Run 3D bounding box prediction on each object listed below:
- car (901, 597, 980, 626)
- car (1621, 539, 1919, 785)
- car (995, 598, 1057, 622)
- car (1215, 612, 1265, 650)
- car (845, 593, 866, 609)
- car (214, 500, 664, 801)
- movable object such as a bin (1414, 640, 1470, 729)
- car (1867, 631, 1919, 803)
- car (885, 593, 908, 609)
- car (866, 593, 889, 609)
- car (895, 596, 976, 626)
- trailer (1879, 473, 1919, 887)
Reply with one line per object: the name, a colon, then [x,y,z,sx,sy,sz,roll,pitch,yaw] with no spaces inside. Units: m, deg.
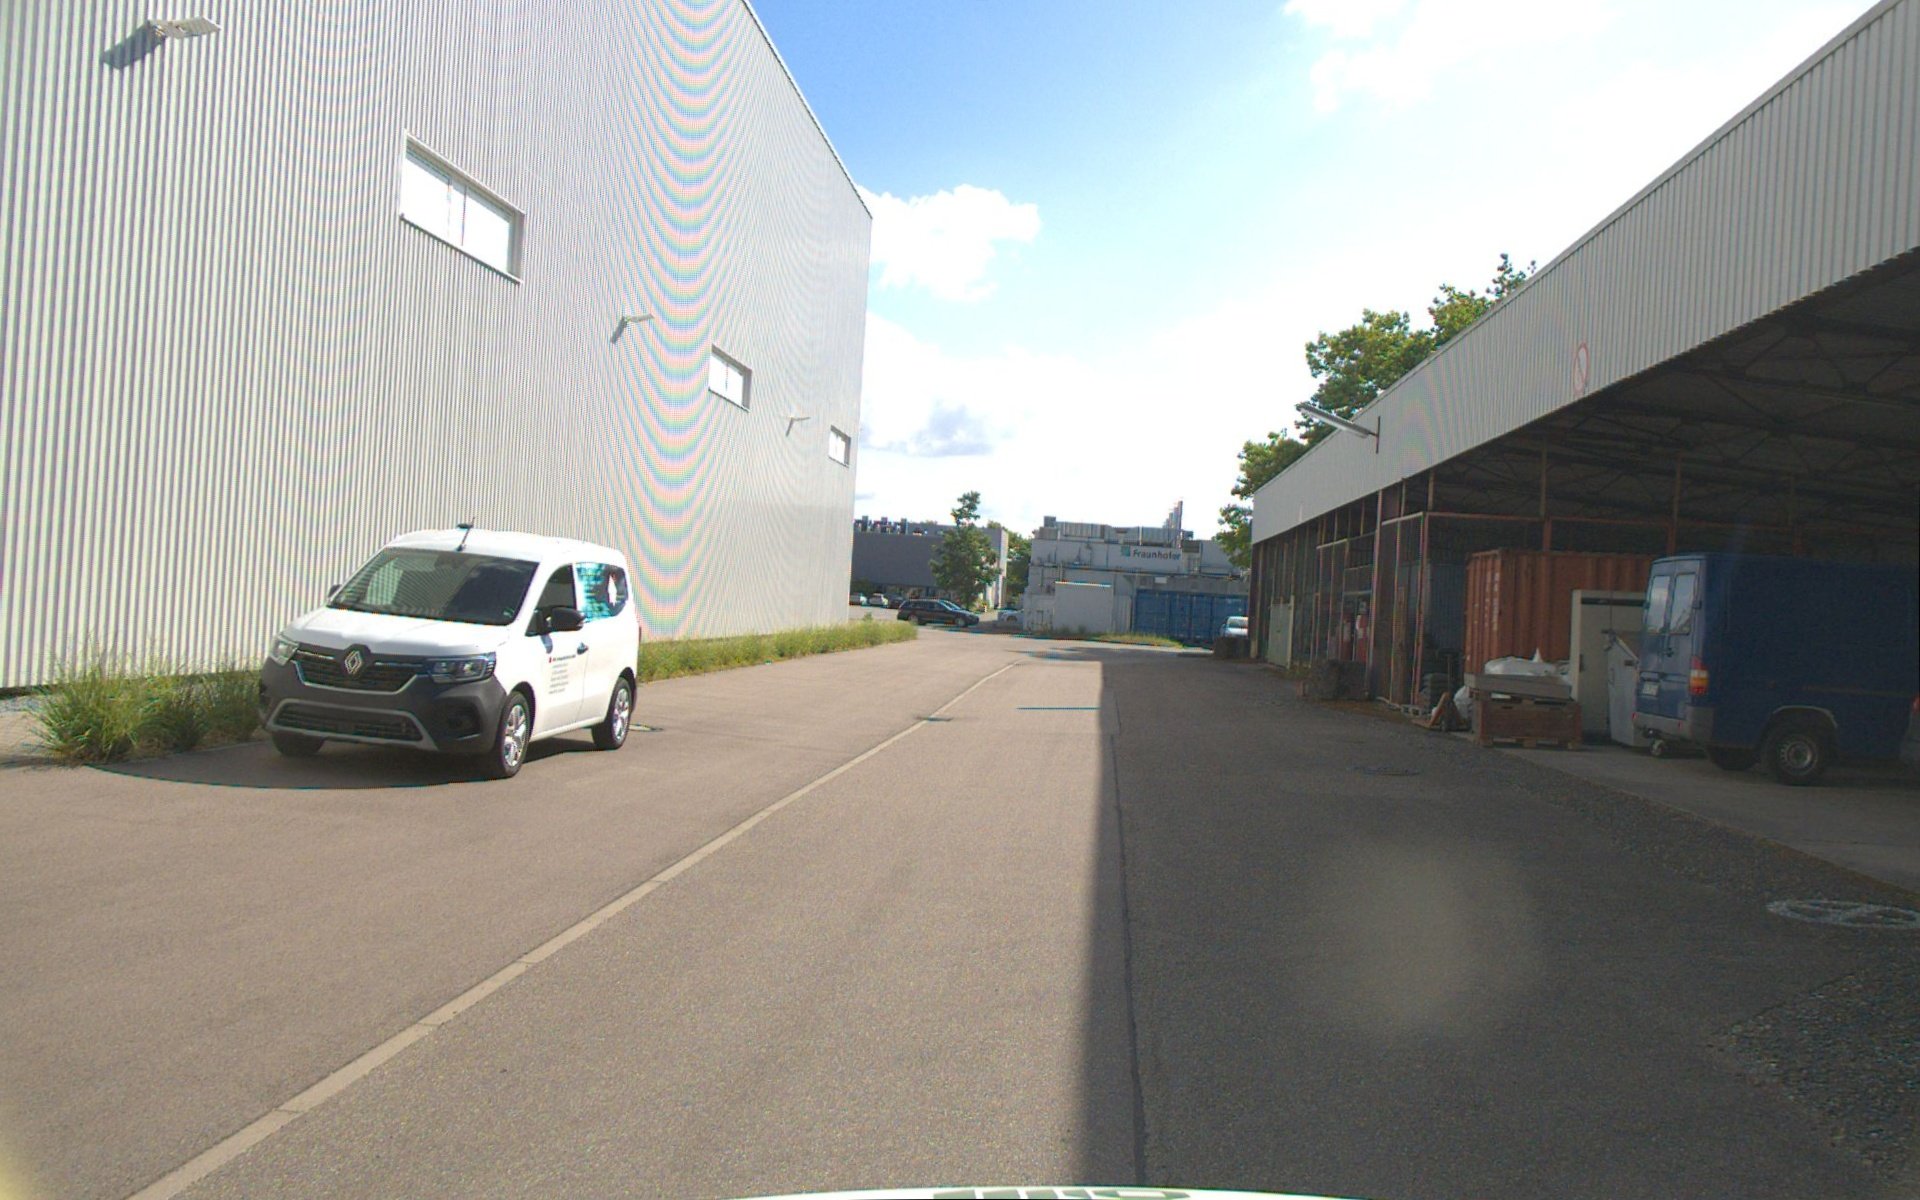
car: [-1.148,0.681,98.943,4.430,1.534,1.910,2,0,7]
car: [9.885,0.689,17.574,4.874,2.366,2.001,3,0,5]
car: [4.935,0.748,122.909,4.431,1.534,1.910,3,0,6]
car: [13.798,1.517,81.686,1.952,1.613,4.175,3,1,4]
car: [-12.237,0.075,193.739,1.952,1.766,4.002,1,-1,4]
car: [-3.946,0.347,13.429,1.851,1.877,4.360,5,0,4]
movable object such as a bin: [6.845,1.182,23.513,0.569,1.185,1.239,2,0,9]
car: [10.411,1.120,14.502,3.905,1.498,1.788,2,0,0]
car: [-7.329,0.124,191.974,2.147,1.766,4.002,1,-1,4]
car: [-9.685,0.112,193.880,2.147,1.766,4.002,1,-1,4]
car: [-1.380,0.643,95.712,4.430,1.534,1.910,2,0,7]
trailer: [7.910,0.553,8.964,4.710,2.433,1.828,2,0,10]
